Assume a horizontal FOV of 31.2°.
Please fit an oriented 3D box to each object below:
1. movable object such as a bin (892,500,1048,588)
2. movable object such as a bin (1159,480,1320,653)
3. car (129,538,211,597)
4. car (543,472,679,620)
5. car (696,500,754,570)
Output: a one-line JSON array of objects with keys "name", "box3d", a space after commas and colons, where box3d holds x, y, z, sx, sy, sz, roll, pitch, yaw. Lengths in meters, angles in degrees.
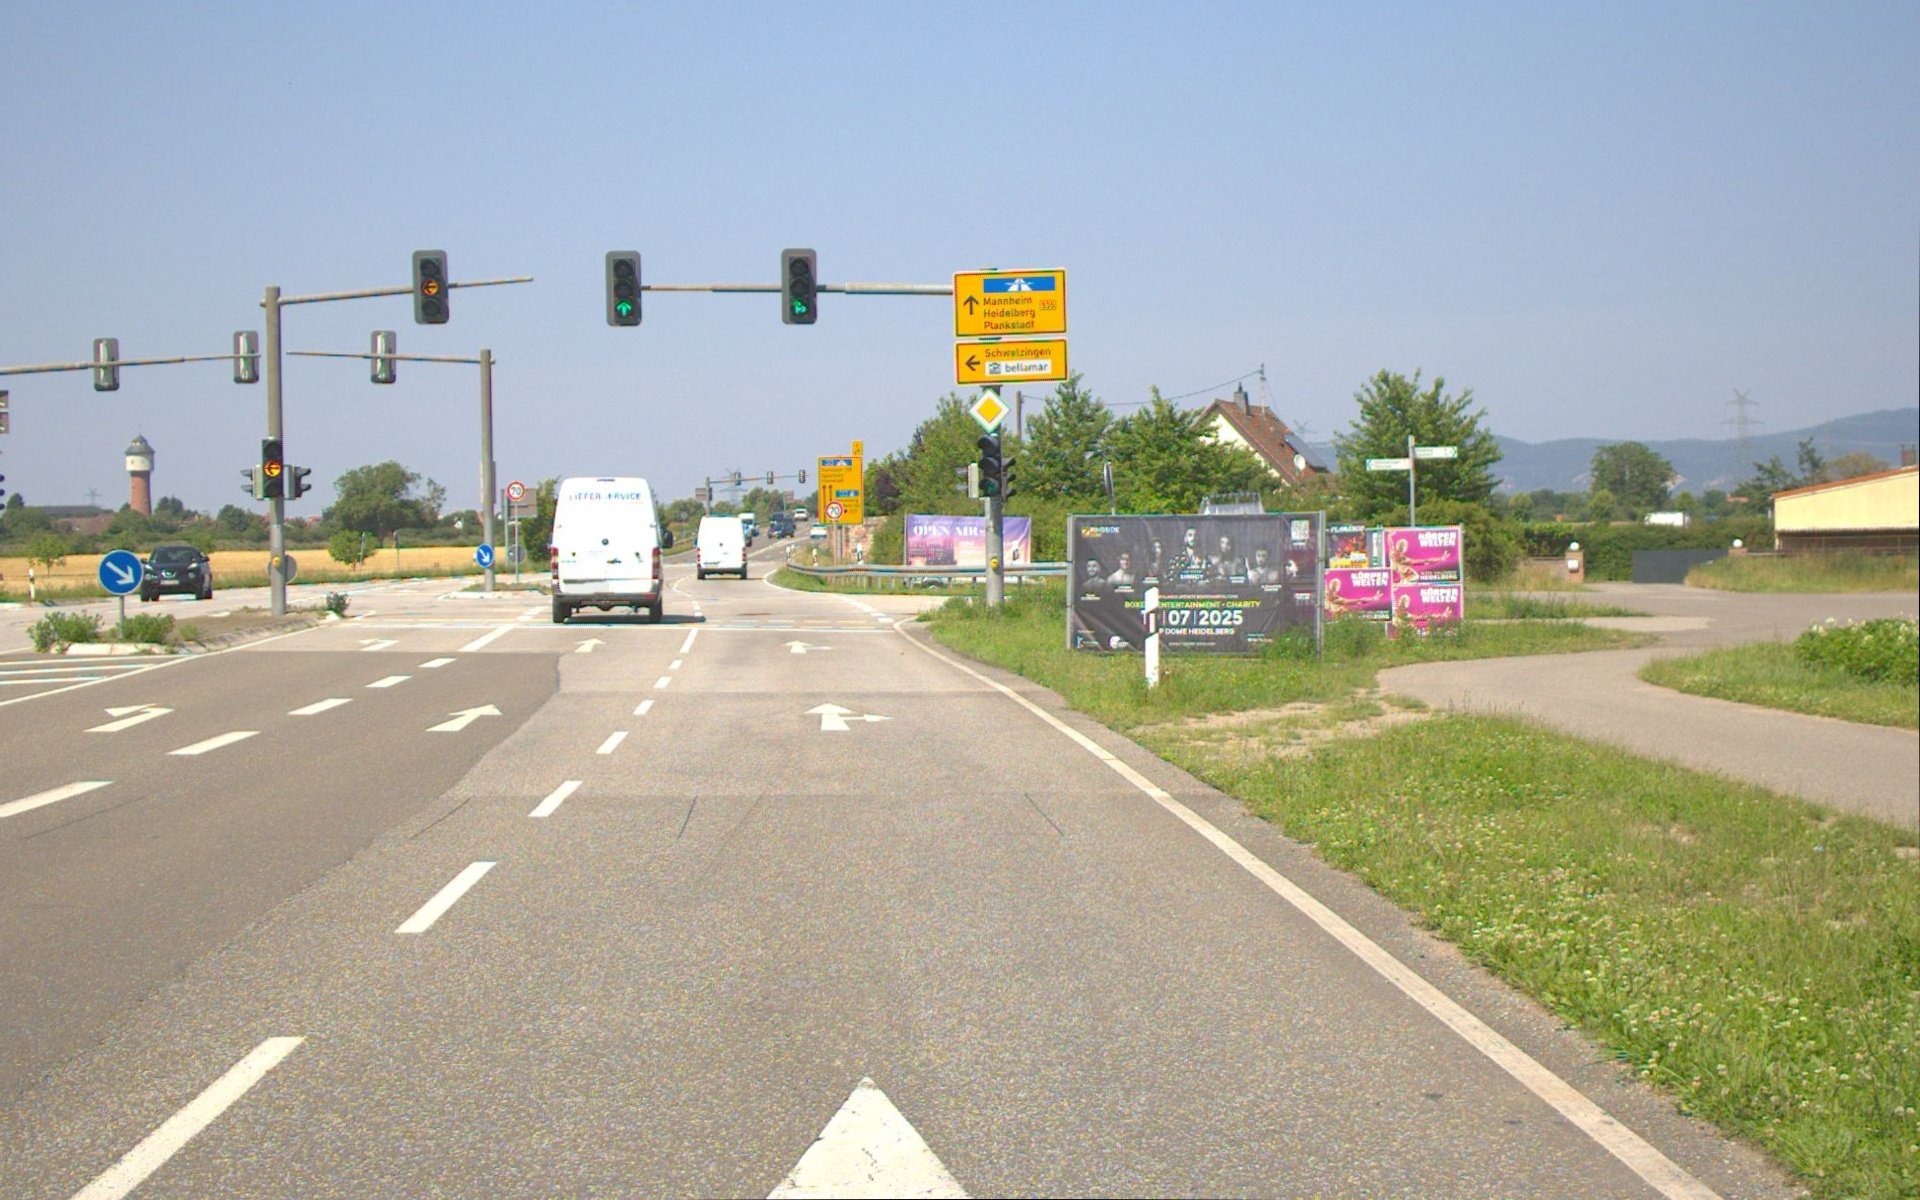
[{"name": "movable object such as a bin", "box3d": [0.261, -1.527, 93.562, 4.093, 2.323, 1.278, 1, 0, -8]}, {"name": "movable object such as a bin", "box3d": [4.056, -0.478, 49.383, 1.523, 2.355, 4.421, 1, 1, 15]}, {"name": "car", "box3d": [-22.232, -0.914, 96.882, 1.830, 1.594, 4.306, -2, 1, -8]}, {"name": "car", "box3d": [-6.442, -1.032, 64.030, 2.039, 2.611, 5.742, 0, 1, -1]}, {"name": "car", "box3d": [-9.464, -2.597, 138.690, 1.993, 2.686, 4.969, 1, 0, 0]}]
